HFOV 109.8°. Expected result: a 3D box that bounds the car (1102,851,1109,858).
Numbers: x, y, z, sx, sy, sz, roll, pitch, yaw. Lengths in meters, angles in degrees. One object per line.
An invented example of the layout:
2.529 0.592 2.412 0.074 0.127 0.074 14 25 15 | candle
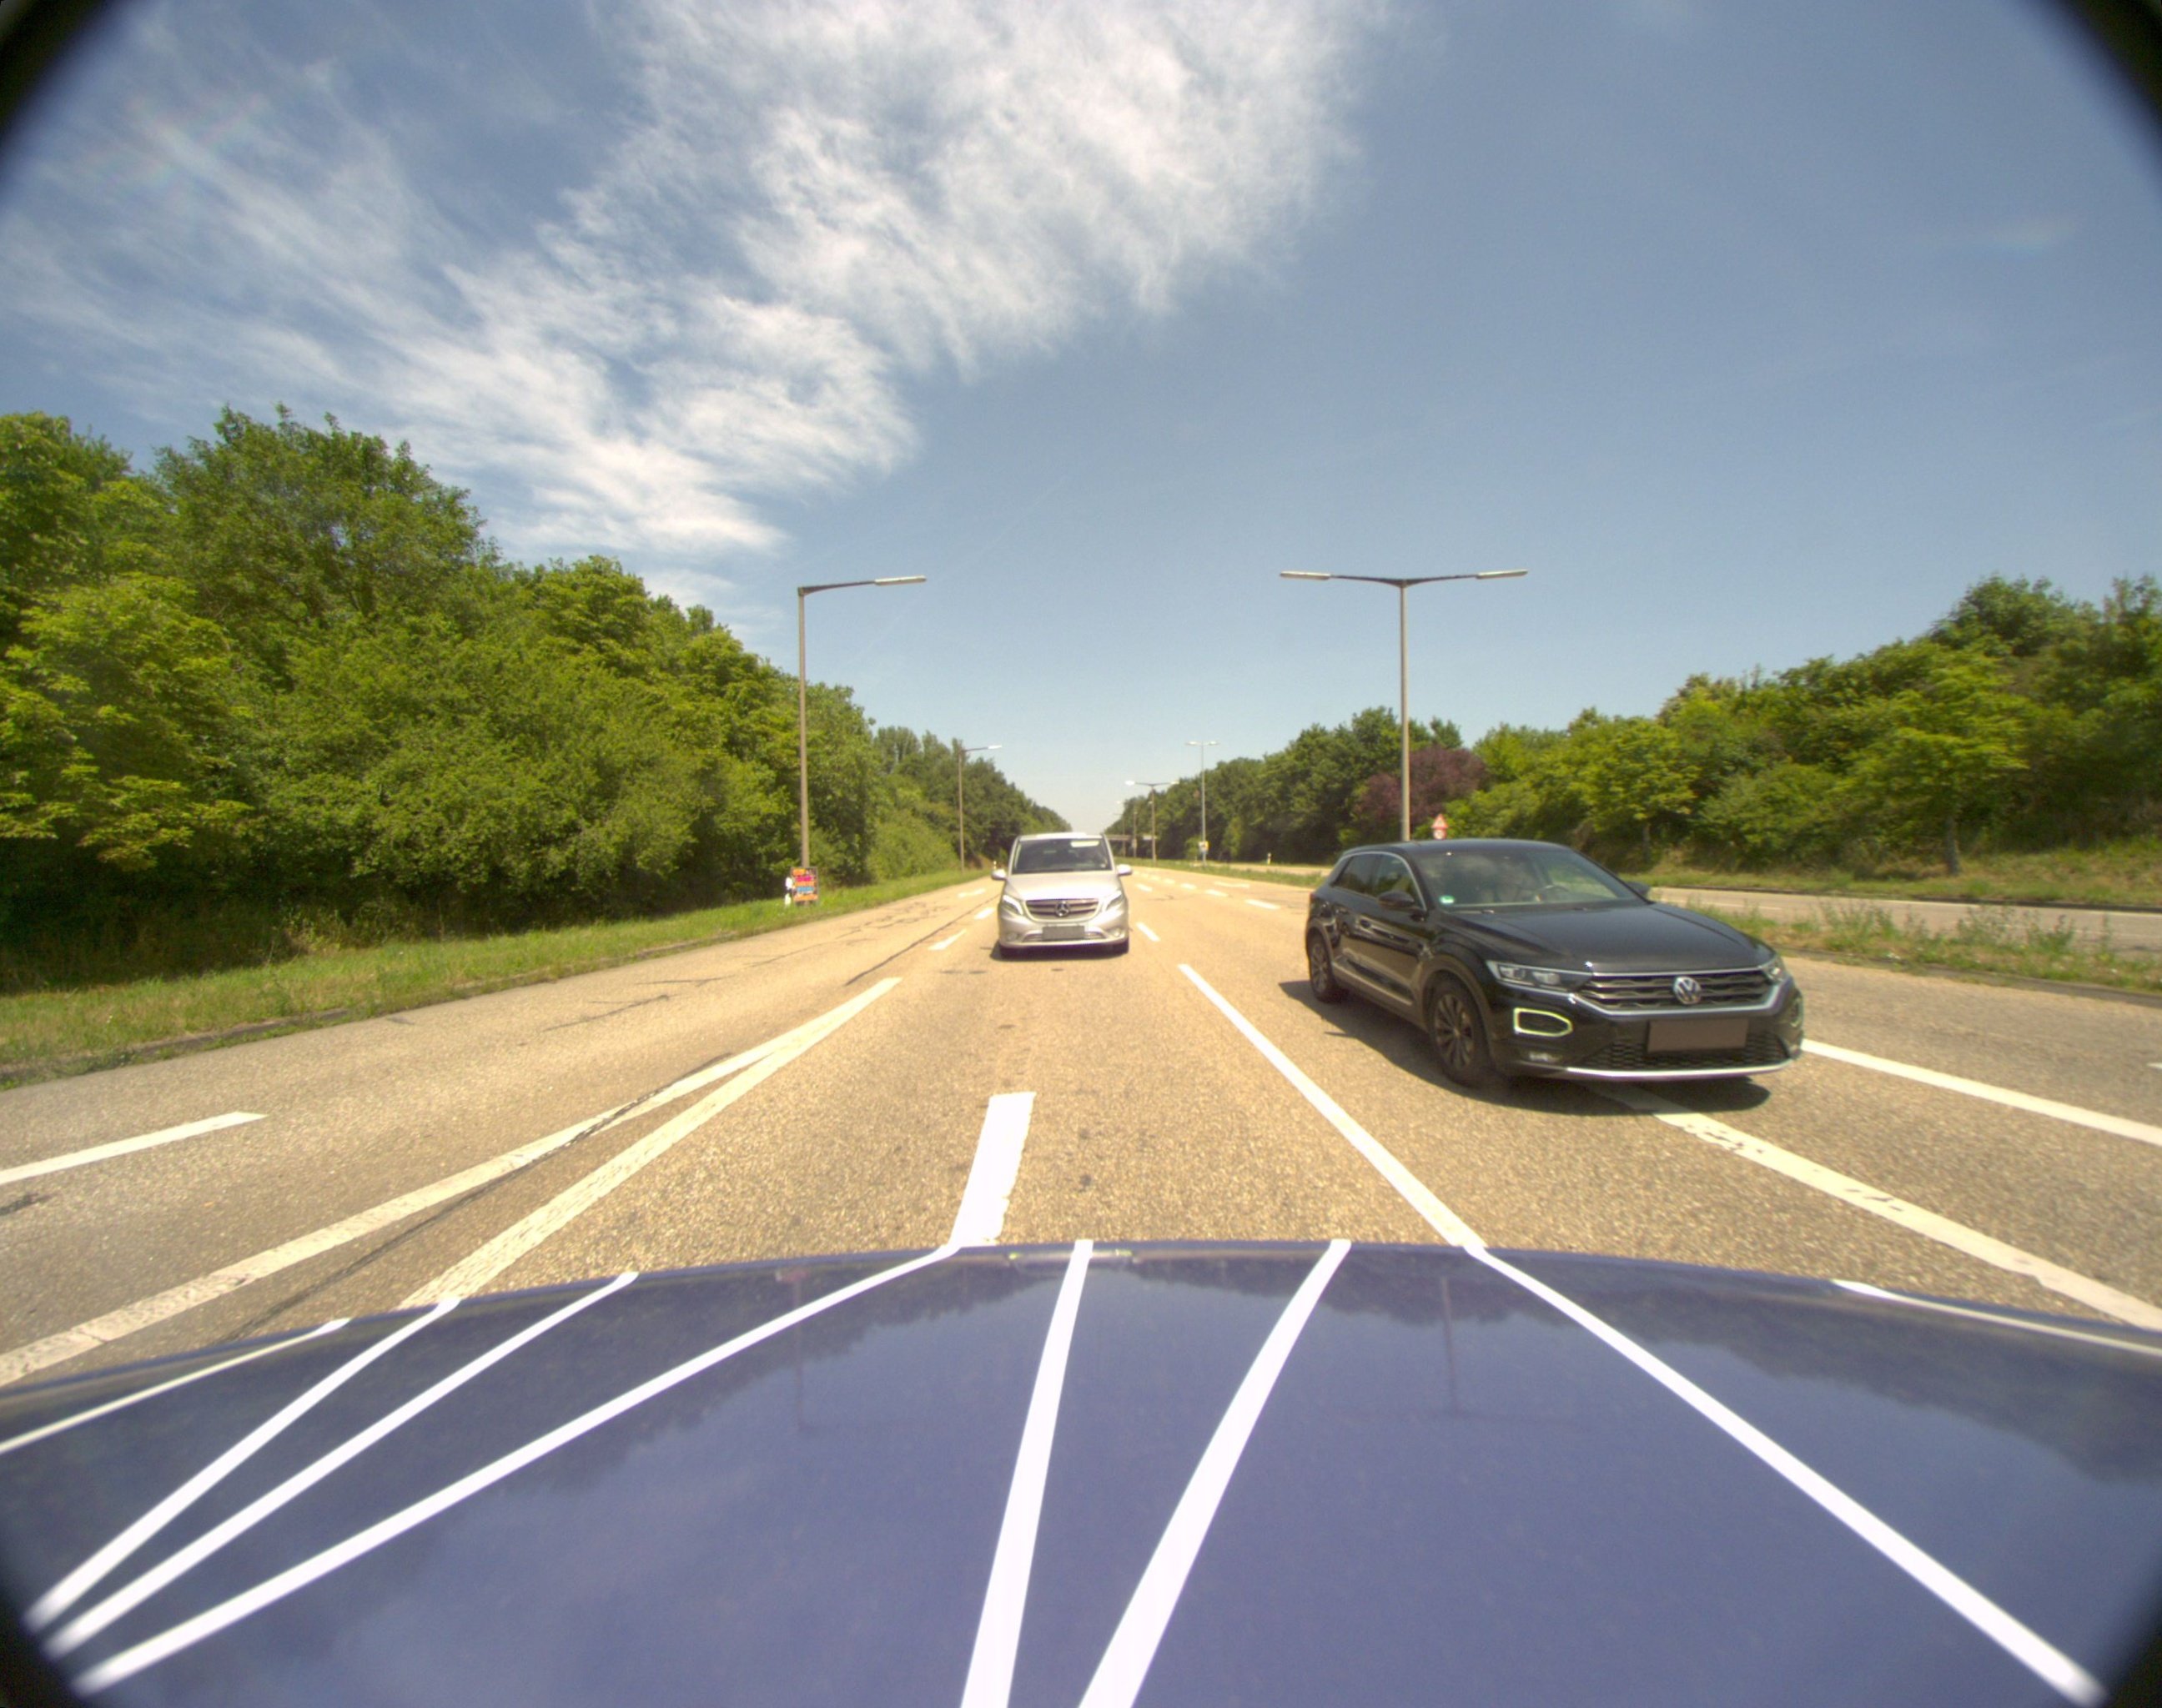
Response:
6.559 0.164 206.372 1.735 1.815 4.321 -1 0 0 | car

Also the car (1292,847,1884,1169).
3.043 0.741 5.709 1.739 1.503 3.970 -3 1 0 | car

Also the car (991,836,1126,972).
-0.324 0.665 12.866 1.765 1.794 4.854 -3 1 0 | car

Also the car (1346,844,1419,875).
14.905 0.251 37.805 1.827 1.447 4.167 -1 0 -3 | car
